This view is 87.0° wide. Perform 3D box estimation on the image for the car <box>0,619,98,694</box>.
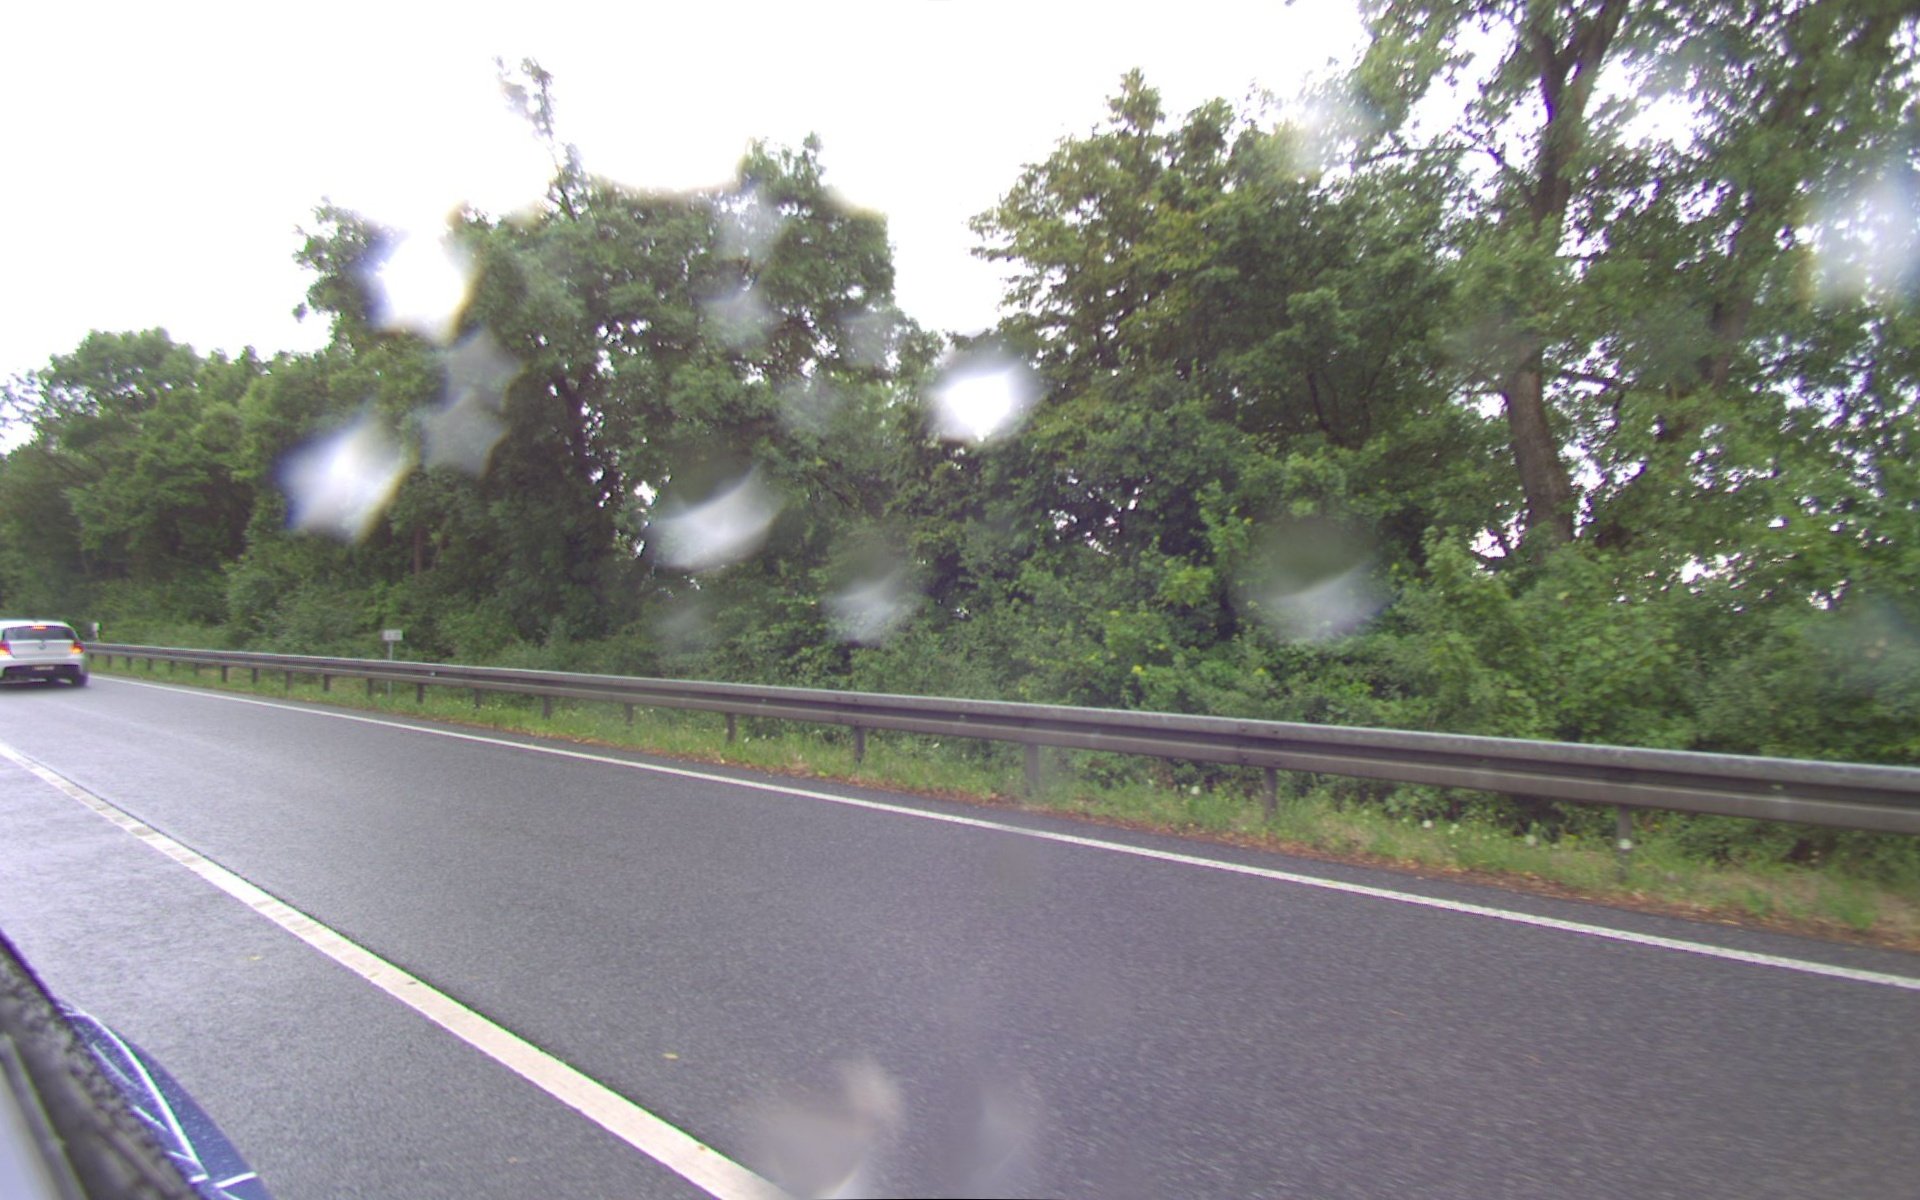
[{"bbox_3d":[-20.333,1.167,21.919,4.042,1.465,1.797,-1,-1,38],"label":"car"}]
